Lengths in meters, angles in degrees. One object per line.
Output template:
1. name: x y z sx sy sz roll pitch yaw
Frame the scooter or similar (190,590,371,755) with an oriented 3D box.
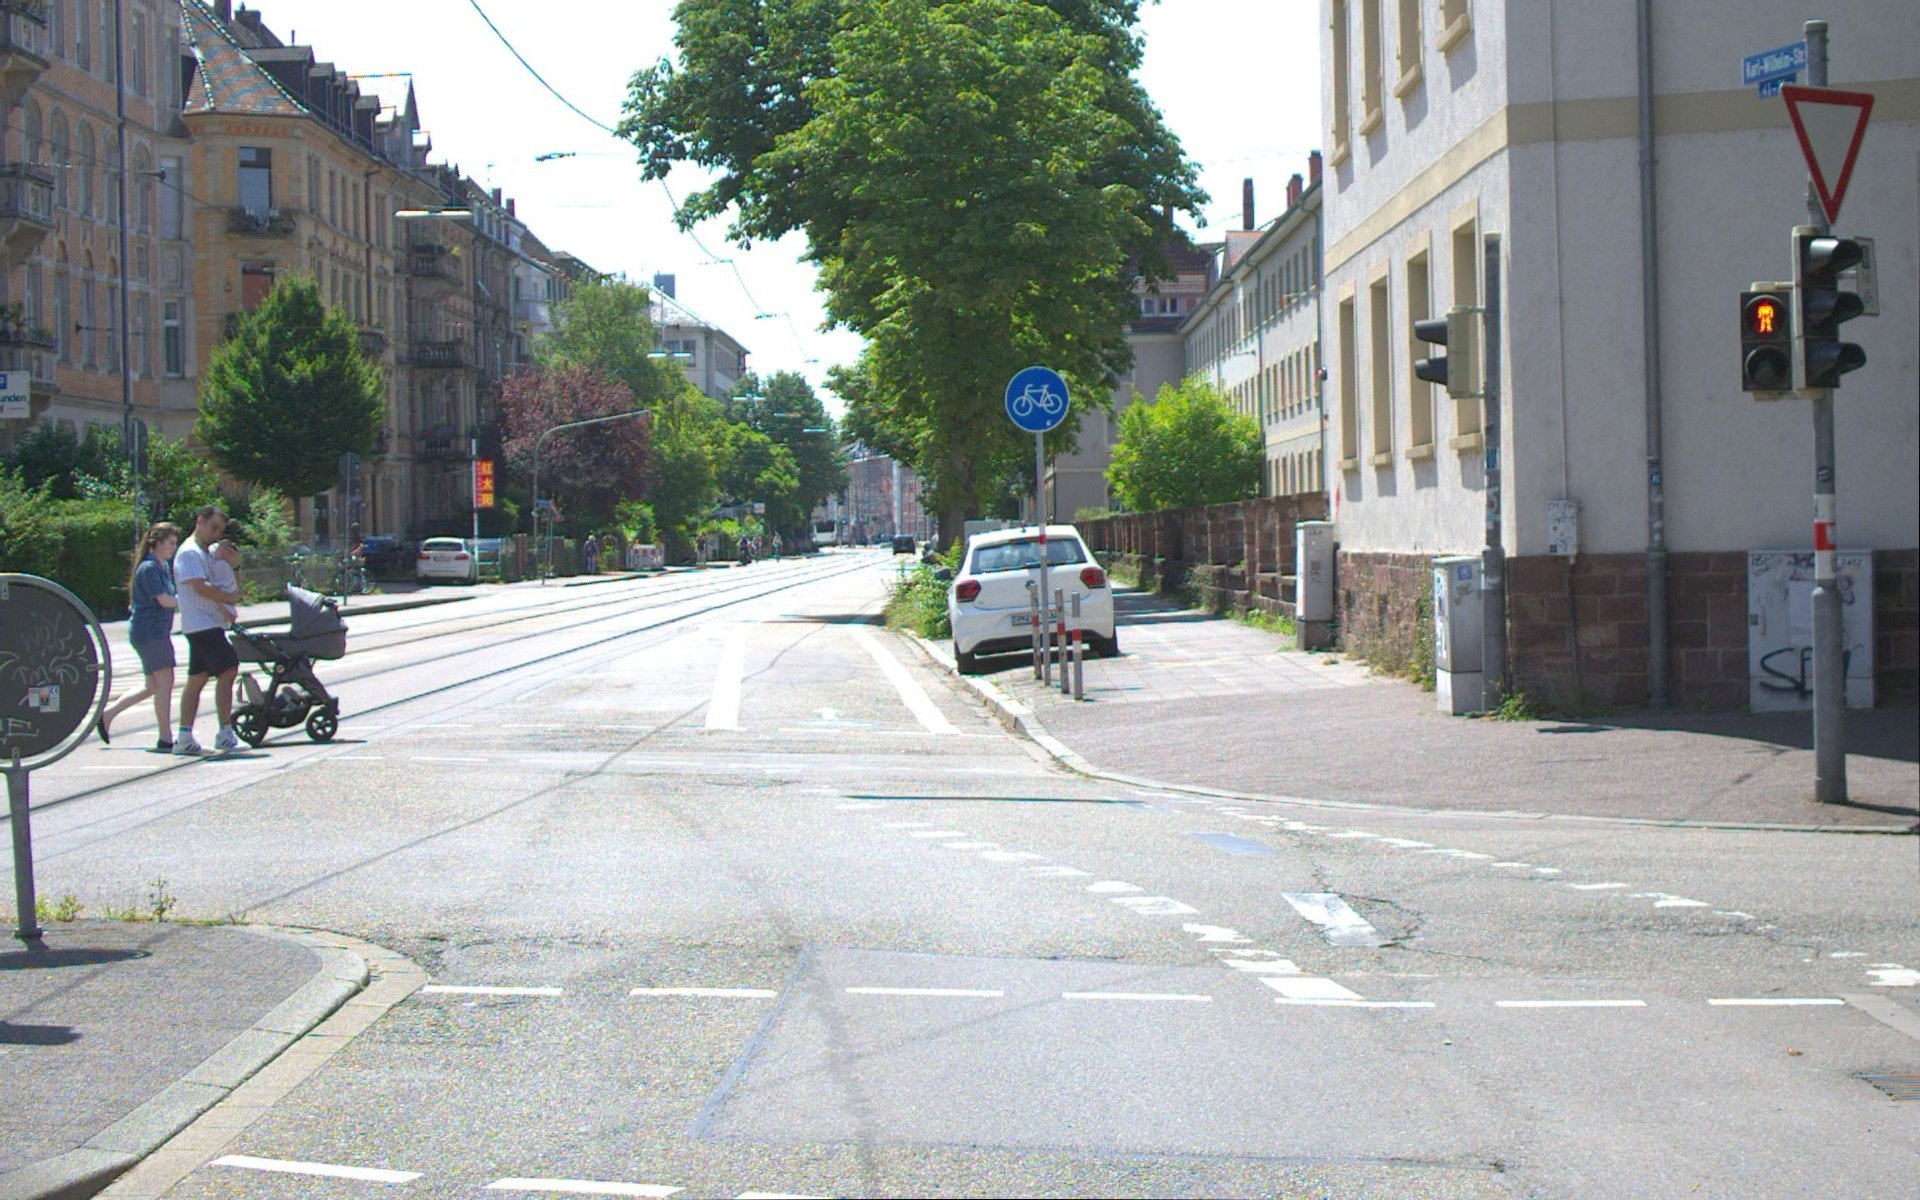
1. scooter or similar: -4.880 0.516 24.724 1.201 1.151 0.558 1 0 -4

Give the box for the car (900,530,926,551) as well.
1. car: -3.443 -4.351 252.865 1.825 1.514 4.000 1 1 -1

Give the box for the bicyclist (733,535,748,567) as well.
1. bicyclist: -12.124 -2.693 189.738 0.727 1.762 1.079 1 0 1

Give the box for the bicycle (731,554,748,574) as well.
1. bicycle: -12.154 -1.987 189.710 0.727 1.119 2.085 1 1 1

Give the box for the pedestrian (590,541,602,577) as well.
1. pedestrian: -14.578 -1.641 137.763 0.406 1.456 0.436 -1 1 -1

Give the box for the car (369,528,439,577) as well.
1. car: -20.024 -1.718 123.901 1.919 1.709 4.000 1 1 -1

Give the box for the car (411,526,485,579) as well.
1. car: -17.193 -1.594 115.563 1.919 1.709 4.000 1 1 -1

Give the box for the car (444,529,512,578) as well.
1. car: -17.337 -1.681 123.827 1.919 1.709 4.000 1 1 -1

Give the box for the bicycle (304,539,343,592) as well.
1. bicycle: -15.665 -0.861 84.667 0.677 1.274 1.919 -1 1 -3

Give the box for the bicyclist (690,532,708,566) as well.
1. bicyclist: -12.438 -2.440 164.078 0.727 1.623 1.079 1 0 1

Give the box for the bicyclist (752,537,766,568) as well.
1. bicyclist: -12.127 -2.866 207.859 0.727 1.812 1.079 1 0 1

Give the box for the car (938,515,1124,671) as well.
1. car: 0.717 -0.090 37.327 1.815 1.511 4.000 -3 1 -1

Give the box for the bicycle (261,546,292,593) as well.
1. bicycle: -15.908 -0.710 80.024 0.677 1.061 1.919 -1 1 -11

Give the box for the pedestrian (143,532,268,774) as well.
1. pedestrian: -5.196 0.355 23.693 0.675 1.640 0.558 1 0 7

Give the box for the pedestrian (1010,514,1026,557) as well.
1. pedestrian: 2.143 -2.380 127.045 0.521 1.557 0.573 -1 1 -1

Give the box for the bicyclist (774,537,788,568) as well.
1. bicyclist: -10.832 -2.871 207.707 0.727 1.812 1.079 1 0 1

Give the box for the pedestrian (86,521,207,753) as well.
1. pedestrian: -5.839 0.260 24.694 0.675 1.640 0.558 1 0 7
